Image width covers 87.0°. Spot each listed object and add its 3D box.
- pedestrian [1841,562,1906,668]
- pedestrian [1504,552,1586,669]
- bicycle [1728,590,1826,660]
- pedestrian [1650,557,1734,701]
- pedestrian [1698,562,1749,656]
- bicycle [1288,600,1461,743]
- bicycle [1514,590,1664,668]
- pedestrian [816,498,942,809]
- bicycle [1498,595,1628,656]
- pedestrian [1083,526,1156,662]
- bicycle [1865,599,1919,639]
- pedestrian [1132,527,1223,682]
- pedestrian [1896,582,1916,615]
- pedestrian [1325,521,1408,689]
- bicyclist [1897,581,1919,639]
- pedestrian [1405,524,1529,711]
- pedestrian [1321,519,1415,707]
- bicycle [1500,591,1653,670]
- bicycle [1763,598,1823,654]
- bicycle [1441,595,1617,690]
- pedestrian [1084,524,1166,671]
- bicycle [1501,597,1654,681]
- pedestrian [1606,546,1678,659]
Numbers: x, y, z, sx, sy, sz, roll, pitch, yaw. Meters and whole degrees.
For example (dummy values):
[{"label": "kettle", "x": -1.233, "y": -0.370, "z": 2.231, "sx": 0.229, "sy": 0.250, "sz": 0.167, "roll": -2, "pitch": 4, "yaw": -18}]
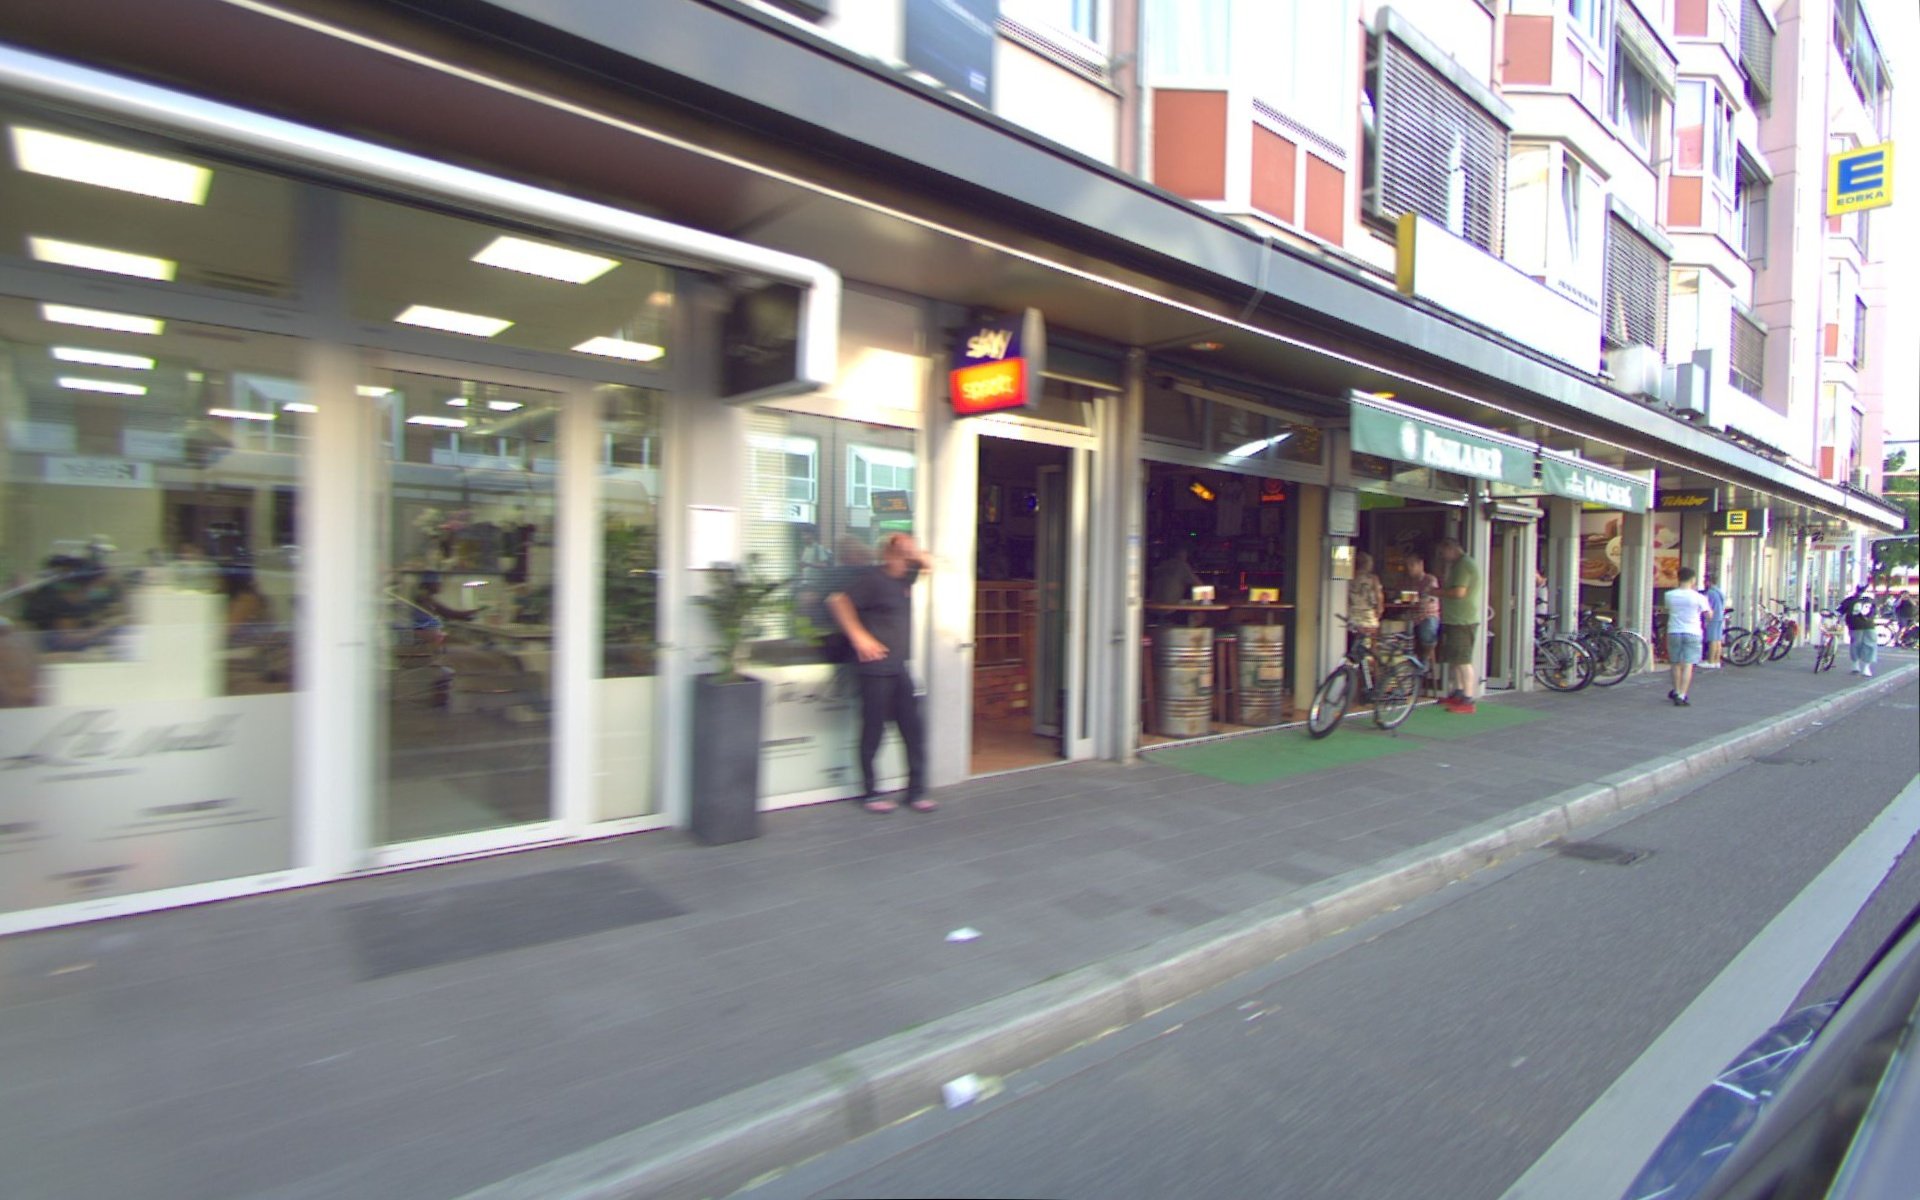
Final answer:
[{"label": "pedestrian", "x": 16.292, "y": 0.253, "z": 18.053, "sx": 0.721, "sy": 1.839, "sz": 0.805, "roll": 0, "pitch": 1, "yaw": -44}, {"label": "pedestrian", "x": 8.876, "y": 0.136, "z": 15.358, "sx": 0.902, "sy": 1.683, "sz": 0.778, "roll": -1, "pitch": 4, "yaw": -43}, {"label": "bicycle", "x": 15.055, "y": 0.437, "z": 18.649, "sx": 1.600, "sy": 1.189, "sz": 0.803, "roll": 0, "pitch": 5, "yaw": -30}, {"label": "pedestrian", "x": 9.002, "y": 0.324, "z": 12.443, "sx": 0.758, "sy": 1.694, "sz": 0.633, "roll": -1, "pitch": 3, "yaw": -41}, {"label": "pedestrian", "x": 13.443, "y": 0.148, "z": 17.828, "sx": 0.451, "sy": 1.614, "sz": 0.409, "roll": 2, "pitch": 4, "yaw": -13}, {"label": "bicycle", "x": 3.743, "y": 0.583, "z": 9.072, "sx": 1.764, "sy": 1.079, "sz": 0.659, "roll": -1, "pitch": 6, "yaw": -42}, {"label": "bicycle", "x": 10.061, "y": 0.433, "z": 16.250, "sx": 0.567, "sy": 1.073, "sz": 1.927, "roll": 0, "pitch": 4, "yaw": -43}, {"label": "pedestrian", "x": -0.471, "y": 0.276, "z": 5.851, "sx": 0.540, "sy": 1.694, "sz": 0.462, "roll": 3, "pitch": 3, "yaw": 40}, {"label": "bicycle", "x": 10.975, "y": 0.436, "z": 18.467, "sx": 0.567, "sy": 0.949, "sz": 1.927, "roll": -1, "pitch": 4, "yaw": -43}, {"label": "pedestrian", "x": 2.277, "y": -0.109, "z": 14.533, "sx": 0.673, "sy": 1.889, "sz": 0.781, "roll": 0, "pitch": 3, "yaw": -23}, {"label": "bicycle", "x": 28.494, "y": 0.579, "z": 30.190, "sx": 0.756, "sy": 1.137, "sz": 2.171, "roll": -1, "pitch": 2, "yaw": -44}, {"label": "pedestrian", "x": 2.751, "y": 0.031, "z": 12.830, "sx": 0.735, "sy": 1.889, "sz": 0.779, "roll": -1, "pitch": 3, "yaw": -38}, {"label": "pedestrian", "x": 59.551, "y": -0.073, "z": 63.707, "sx": 0.743, "sy": 2.039, "sz": 1.057, "roll": -2, "pitch": -1, "yaw": 36}, {"label": "pedestrian", "x": 4.750, "y": 0.038, "z": 11.876, "sx": 0.769, "sy": 1.889, "sz": 0.684, "roll": 2, "pitch": 3, "yaw": 18}, {"label": "bicyclist", "x": 28.467, "y": 0.298, "z": 30.228, "sx": 0.756, "sy": 1.699, "sz": 0.635, "roll": -1, "pitch": 2, "yaw": -45}, {"label": "pedestrian", "x": 5.441, "y": 0.148, "z": 10.874, "sx": 0.766, "sy": 1.889, "sz": 0.915, "roll": -1, "pitch": 4, "yaw": -44}, {"label": "pedestrian", "x": 4.319, "y": 0.110, "z": 10.702, "sx": 0.773, "sy": 1.889, "sz": 0.680, "roll": 3, "pitch": 3, "yaw": 29}, {"label": "bicycle", "x": 9.587, "y": 0.439, "z": 15.807, "sx": 0.567, "sy": 1.073, "sz": 1.927, "roll": 0, "pitch": 4, "yaw": -43}, {"label": "bicycle", "x": 17.017, "y": 0.509, "z": 20.665, "sx": 1.813, "sy": 0.987, "sz": 0.677, "roll": -1, "pitch": 7, "yaw": -44}, {"label": "bicycle", "x": 7.531, "y": 0.520, "z": 13.480, "sx": 0.566, "sy": 1.073, "sz": 1.928, "roll": 0, "pitch": 3, "yaw": -41}, {"label": "pedestrian", "x": 2.203, "y": -0.052, "z": 13.533, "sx": 0.675, "sy": 1.889, "sz": 0.779, "roll": -1, "pitch": 3, "yaw": -38}, {"label": "bicycle", "x": 8.642, "y": 0.516, "z": 14.236, "sx": 0.496, "sy": 0.985, "sz": 1.737, "roll": 0, "pitch": 5, "yaw": -36}, {"label": "pedestrian", "x": 11.463, "y": 0.030, "z": 17.035, "sx": 0.721, "sy": 1.839, "sz": 0.804, "roll": 1, "pitch": 1, "yaw": 12}]
